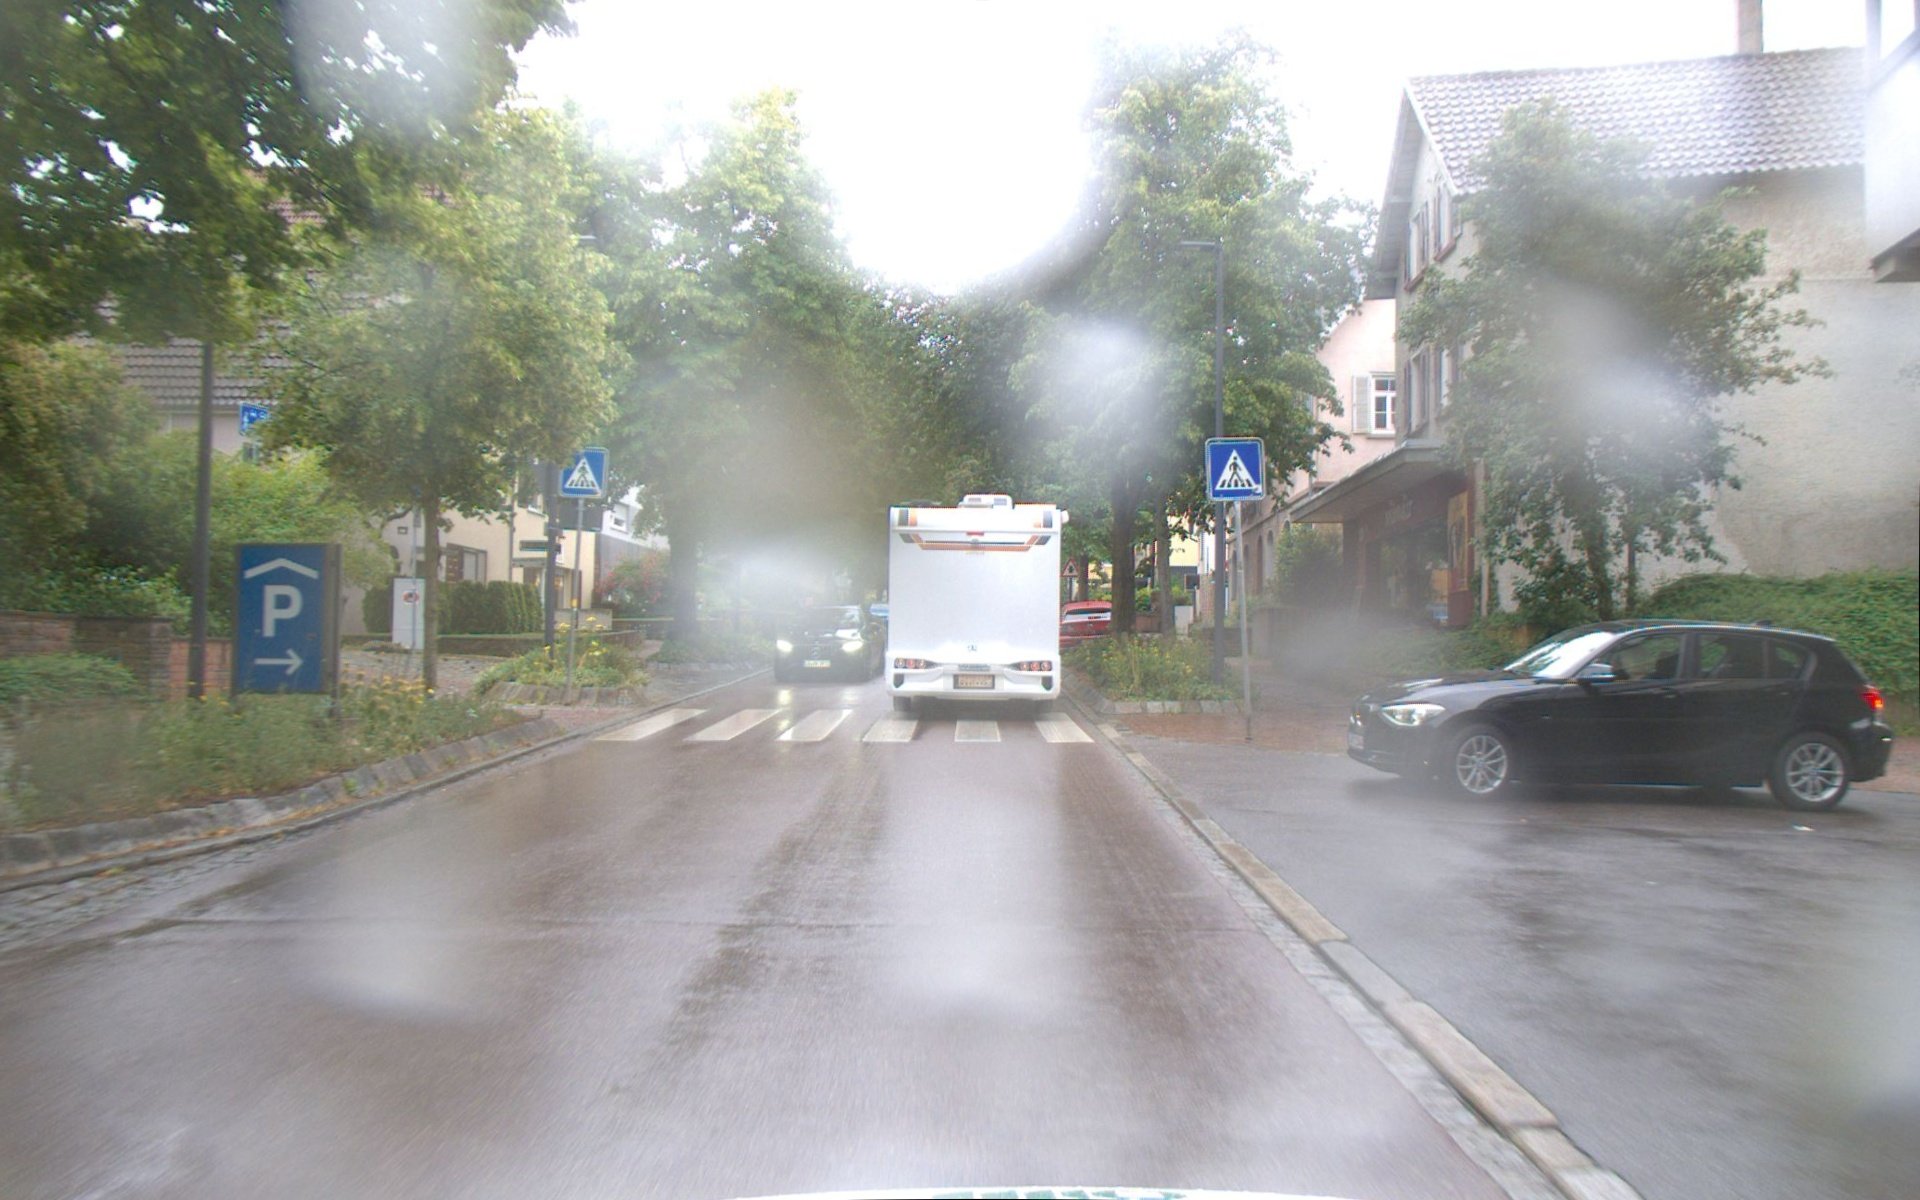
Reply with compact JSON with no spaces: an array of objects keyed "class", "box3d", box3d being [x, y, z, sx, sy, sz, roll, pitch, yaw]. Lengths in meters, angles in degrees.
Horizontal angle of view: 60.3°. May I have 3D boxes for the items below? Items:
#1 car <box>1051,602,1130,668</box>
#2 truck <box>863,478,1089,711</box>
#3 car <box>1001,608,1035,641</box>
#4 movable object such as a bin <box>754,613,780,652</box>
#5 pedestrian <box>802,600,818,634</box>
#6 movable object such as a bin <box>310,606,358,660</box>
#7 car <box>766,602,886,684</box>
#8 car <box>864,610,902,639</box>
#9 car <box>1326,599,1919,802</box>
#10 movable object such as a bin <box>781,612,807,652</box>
[{"class":"car","box3d":[3.174,0.819,40.851,1.816,1.498,4.367,2,0,3]},{"class":"truck","box3d":[0.199,0.003,23.374,2.748,2.846,6.106,-1,-1,0]},{"class":"car","box3d":[2.823,1.194,80.867,1.615,1.569,3.530,-1,-1,1]},{"class":"movable object such as a bin","box3d":[-5.614,0.956,48.167,0.656,1.124,0.817,0,-2,0]},{"class":"pedestrian","box3d":[-8.288,0.933,91.158,0.800,1.876,0.770,0,-2,0]},{"class":"movable object such as a bin","box3d":[-12.276,0.642,32.441,0.560,1.053,0.739,0,-1,13]},{"class":"car","box3d":[-2.512,0.771,31.942,1.817,1.409,4.409,2,0,1]},{"class":"car","box3d":[-4.356,1.373,93.270,1.764,1.579,3.993,0,-1,-8]},{"class":"car","box3d":[5.330,0.776,13.616,4.196,1.441,1.840,2,0,-1]},{"class":"movable object such as a bin","box3d":[-4.781,0.921,47.709,0.656,1.124,0.817,0,-2,0]}]
